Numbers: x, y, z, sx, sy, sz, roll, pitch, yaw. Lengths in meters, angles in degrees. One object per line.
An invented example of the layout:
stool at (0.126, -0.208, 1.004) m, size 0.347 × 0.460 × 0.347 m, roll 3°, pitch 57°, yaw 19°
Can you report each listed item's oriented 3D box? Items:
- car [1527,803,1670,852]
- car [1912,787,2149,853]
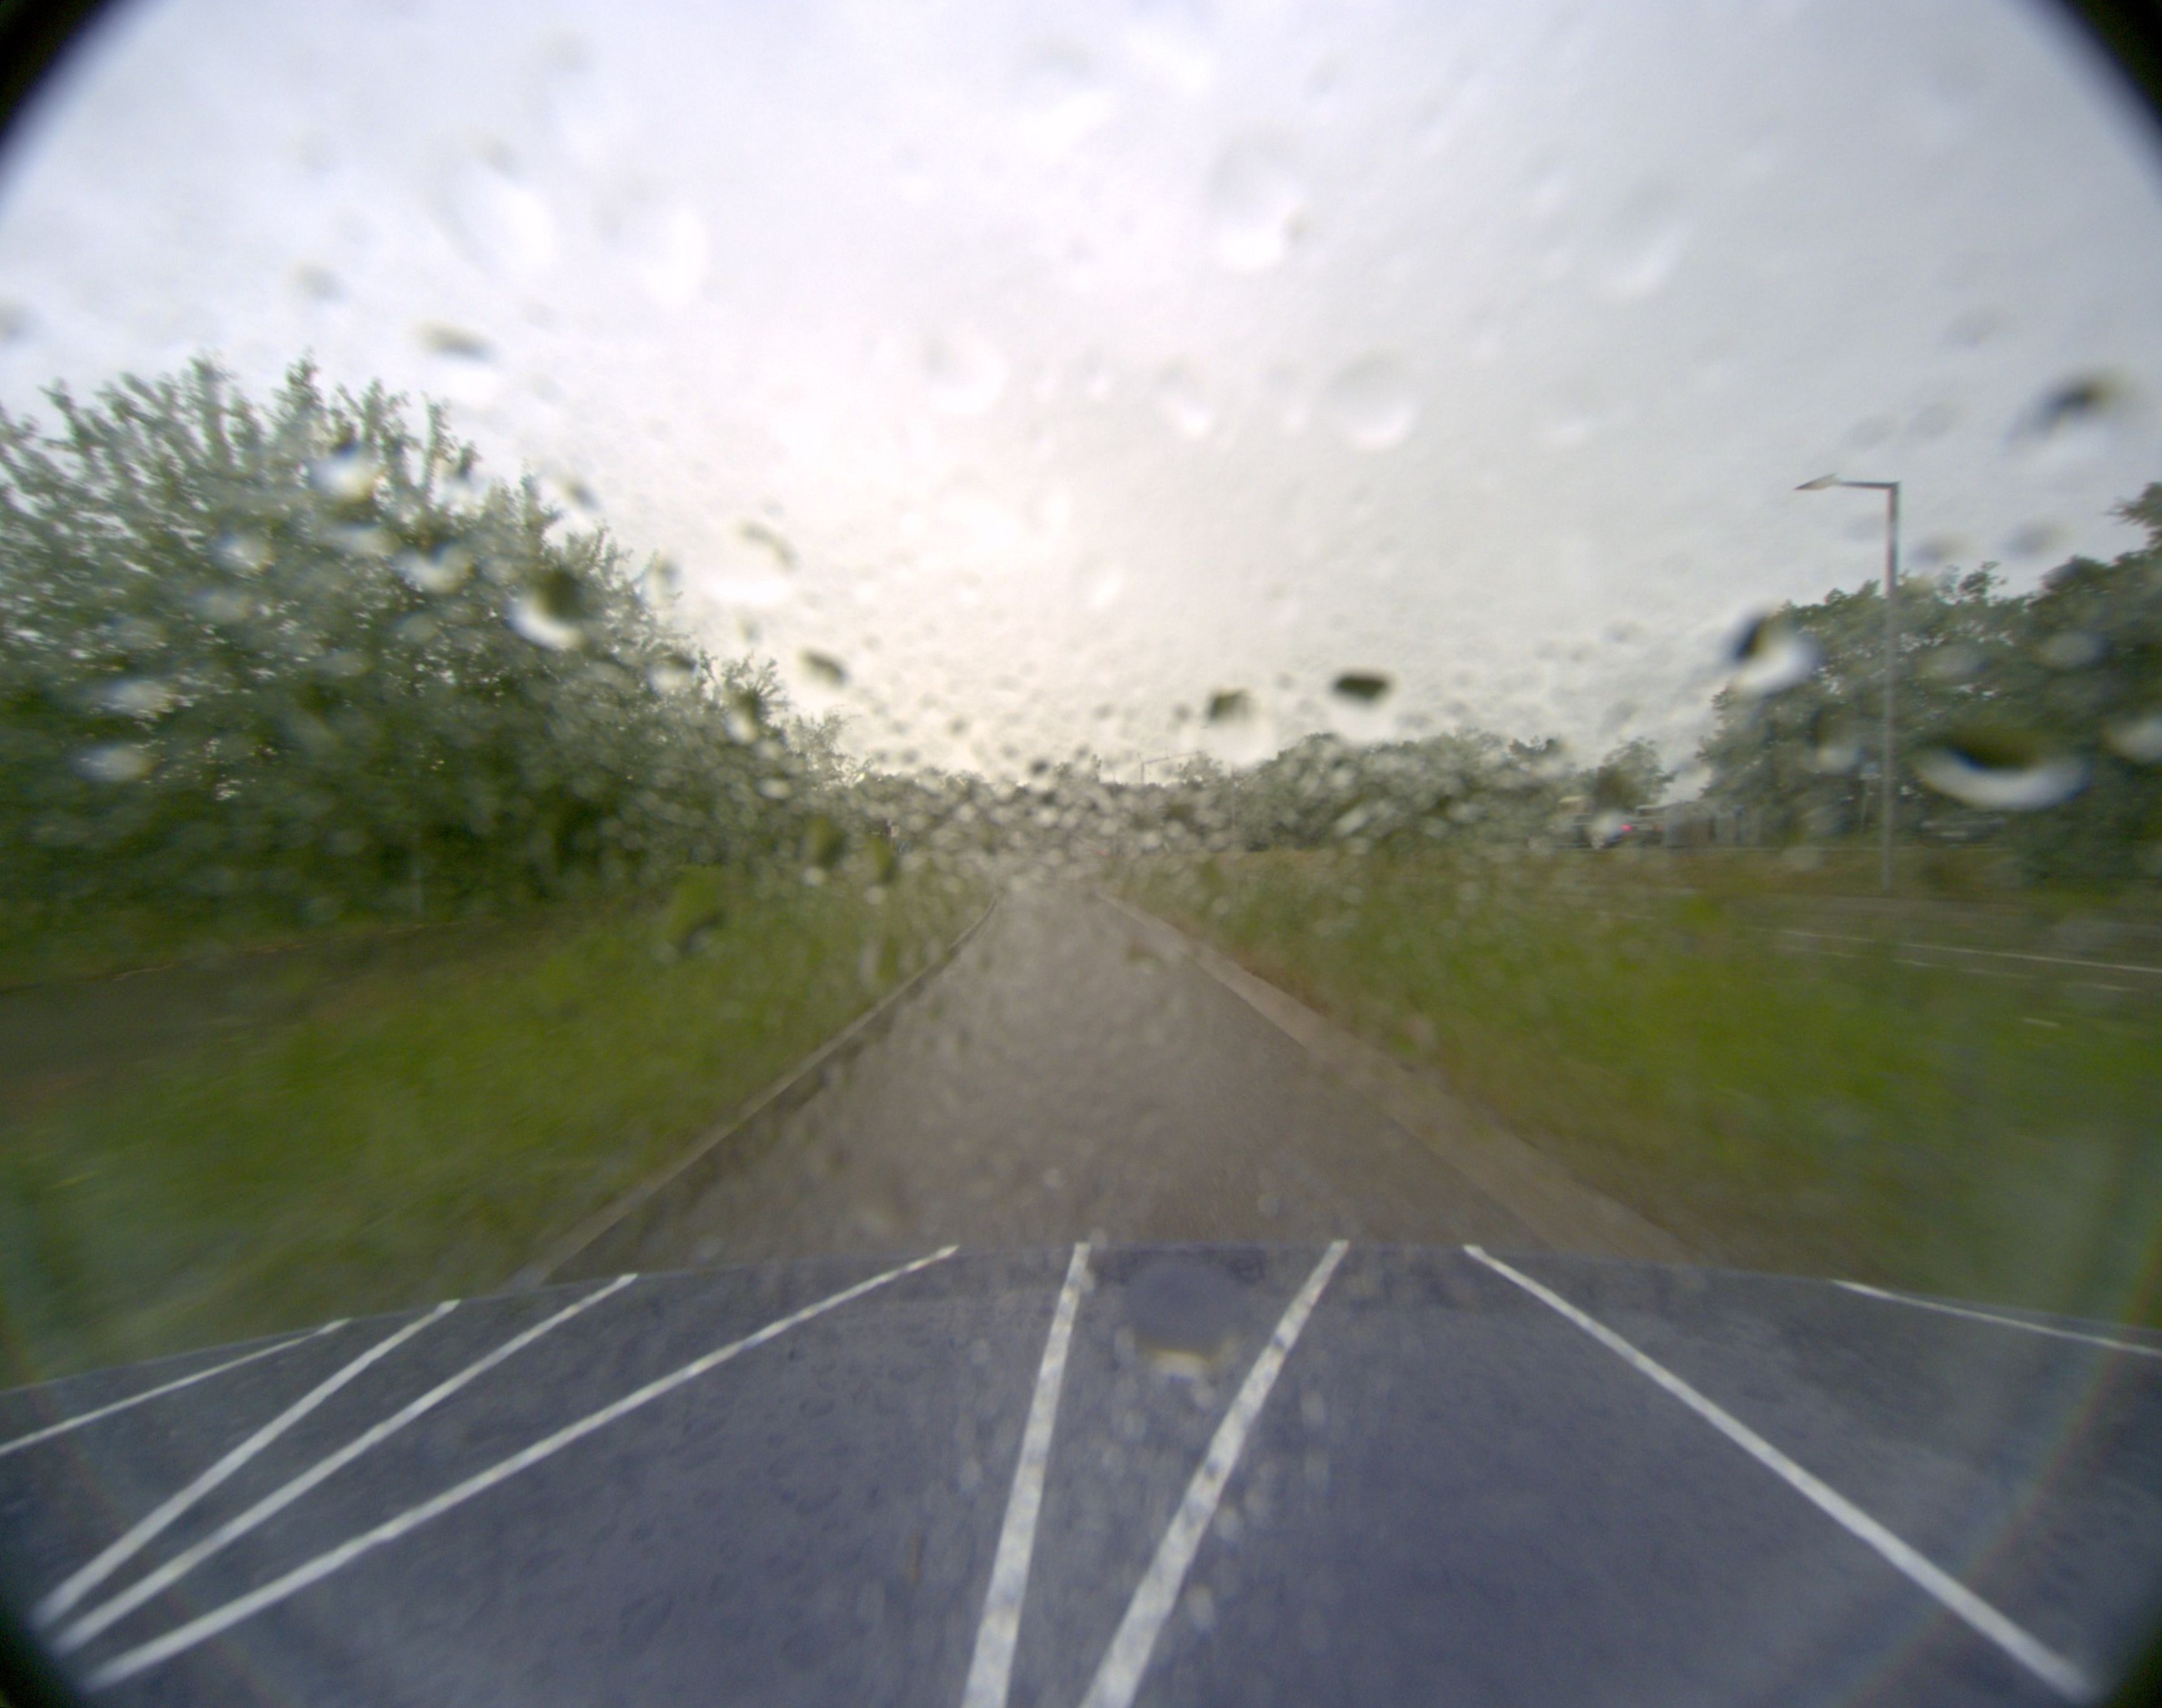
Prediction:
car at (19.255, -0.919, 28.554) m, size 1.697 × 1.559 × 4.538 m, roll -4°, pitch 0°, yaw -10°
car at (25.845, -0.883, 20.758) m, size 4.722 × 1.683 × 2.003 m, roll 0°, pitch 1°, yaw -10°
